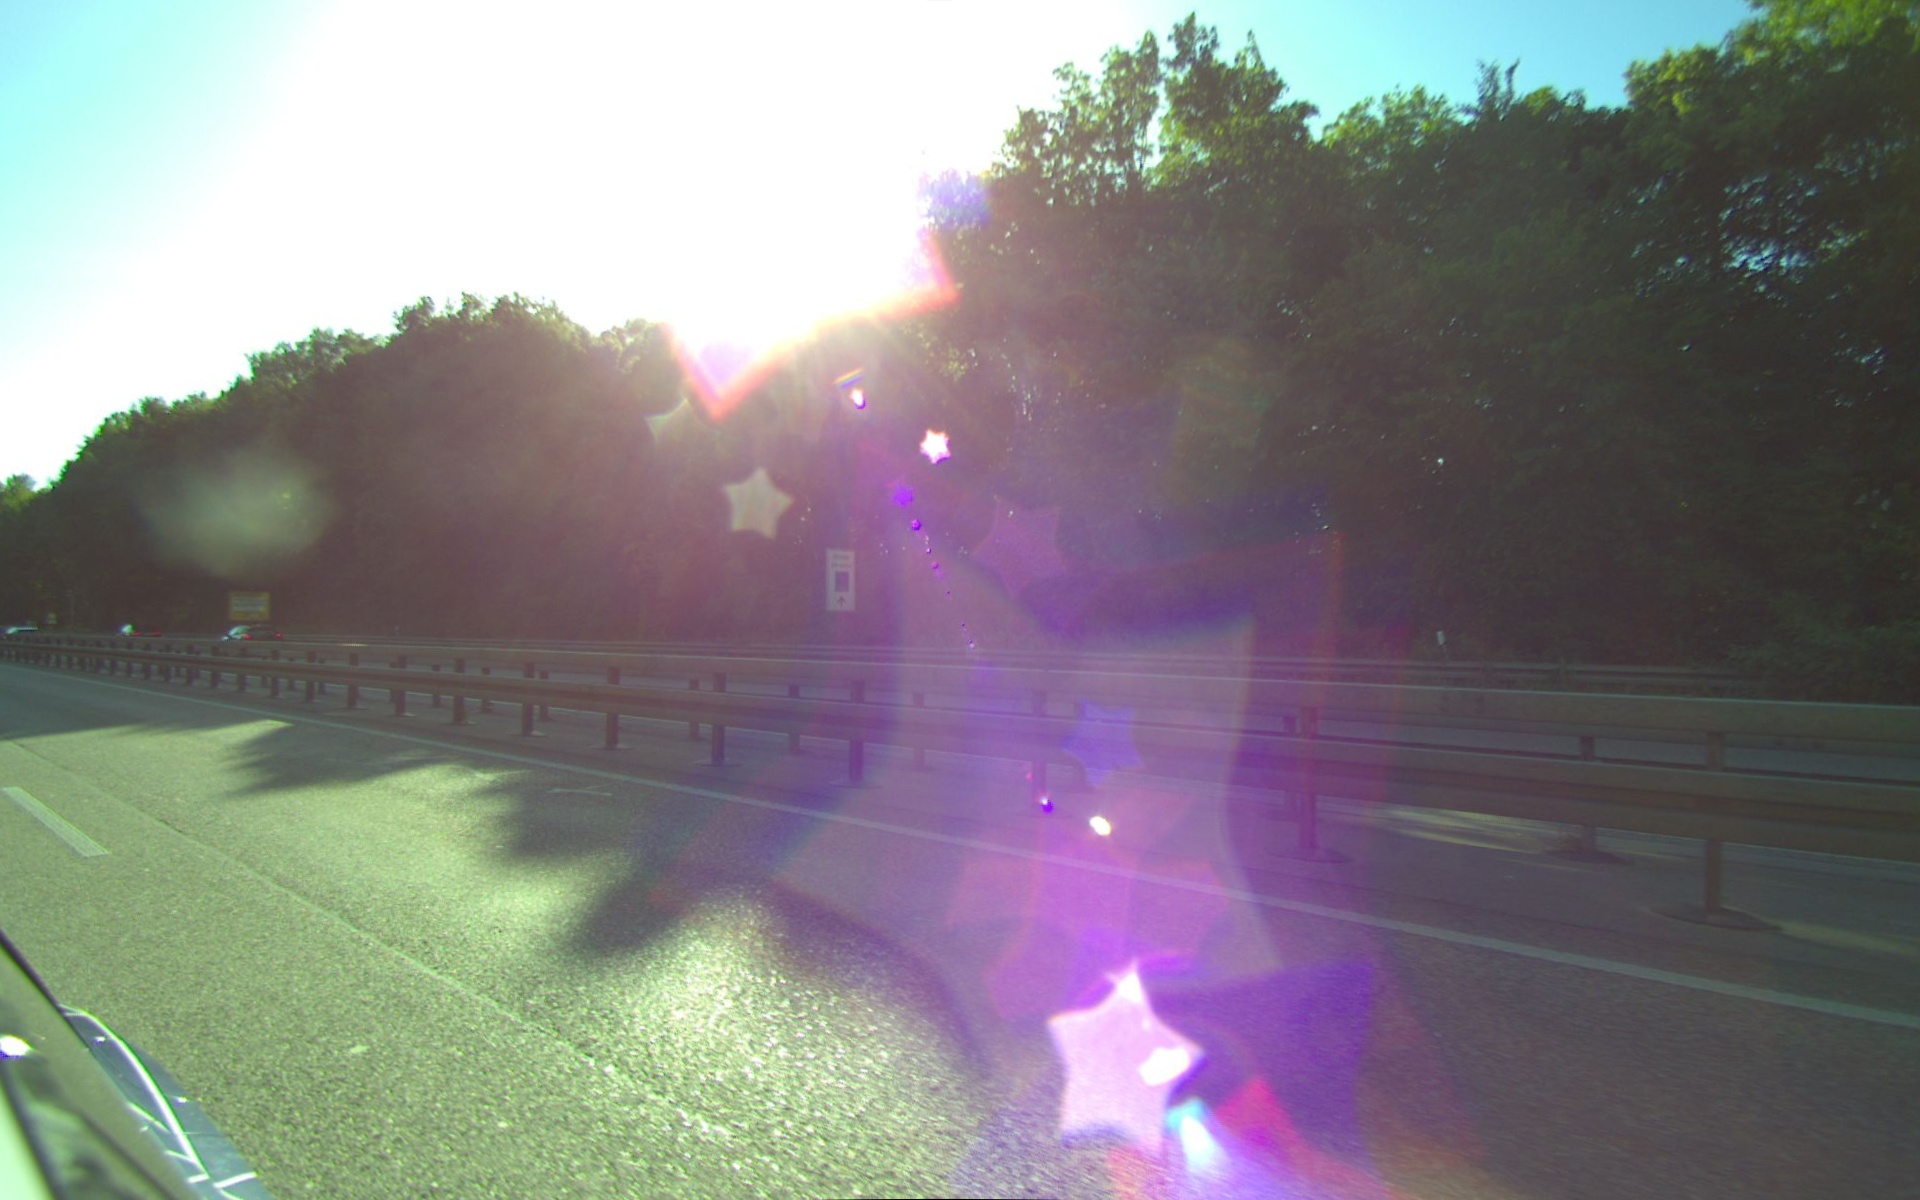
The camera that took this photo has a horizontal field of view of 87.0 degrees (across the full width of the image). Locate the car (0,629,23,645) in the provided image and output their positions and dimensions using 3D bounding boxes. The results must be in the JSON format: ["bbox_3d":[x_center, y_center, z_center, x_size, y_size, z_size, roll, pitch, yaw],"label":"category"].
[{"bbox_3d":[-86.653,3.344,91.780,3.997,1.475,1.973,-1,-3,40],"label":"car"}]

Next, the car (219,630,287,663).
[{"bbox_3d":[-32.508,2.119,46.501,3.997,1.434,1.589,-1,-1,40],"label":"car"}]

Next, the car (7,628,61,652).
[{"bbox_3d":[-60.129,2.590,65.690,4.737,1.475,1.973,-1,-3,41],"label":"car"}]

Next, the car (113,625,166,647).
[{"bbox_3d":[-57.348,2.516,70.687,4.899,1.475,1.973,-1,-3,41],"label":"car"}]
